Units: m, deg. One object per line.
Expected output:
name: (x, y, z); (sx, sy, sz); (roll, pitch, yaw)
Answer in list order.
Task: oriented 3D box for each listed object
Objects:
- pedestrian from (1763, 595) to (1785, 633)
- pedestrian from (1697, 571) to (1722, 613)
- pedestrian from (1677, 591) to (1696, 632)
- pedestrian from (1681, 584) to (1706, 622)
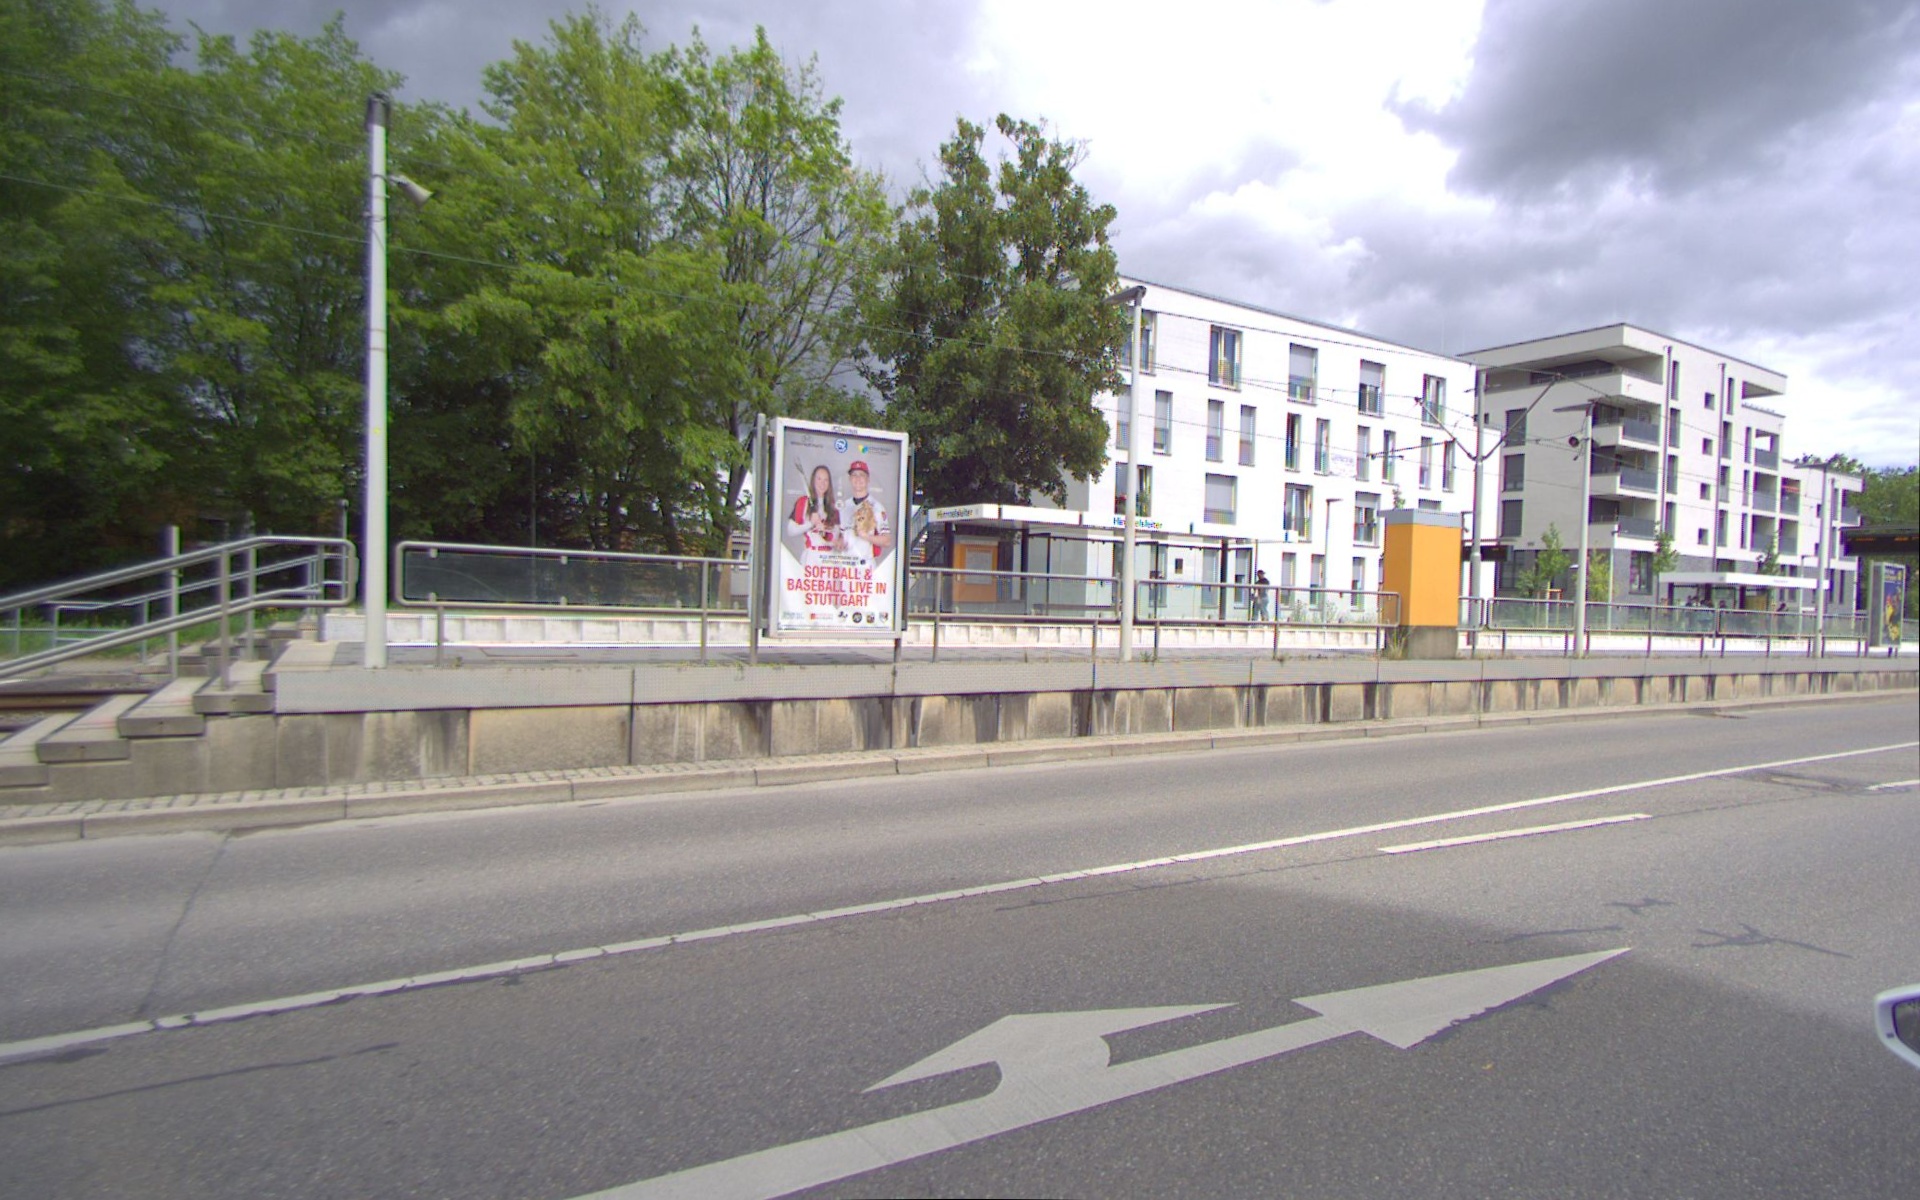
pedestrian: (39.029, 0.660, 48.152); (0.669, 1.789, 0.559); (1, 1, -30)
pedestrian: (33.009, -0.349, 44.259); (0.664, 1.789, 0.489); (2, 1, 3)
pedestrian: (31.520, 0.484, 43.597); (0.479, 1.748, 0.677); (2, 1, 24)
pedestrian: (31.149, 0.127, 42.646); (0.664, 1.618, 0.489); (2, 1, 12)
